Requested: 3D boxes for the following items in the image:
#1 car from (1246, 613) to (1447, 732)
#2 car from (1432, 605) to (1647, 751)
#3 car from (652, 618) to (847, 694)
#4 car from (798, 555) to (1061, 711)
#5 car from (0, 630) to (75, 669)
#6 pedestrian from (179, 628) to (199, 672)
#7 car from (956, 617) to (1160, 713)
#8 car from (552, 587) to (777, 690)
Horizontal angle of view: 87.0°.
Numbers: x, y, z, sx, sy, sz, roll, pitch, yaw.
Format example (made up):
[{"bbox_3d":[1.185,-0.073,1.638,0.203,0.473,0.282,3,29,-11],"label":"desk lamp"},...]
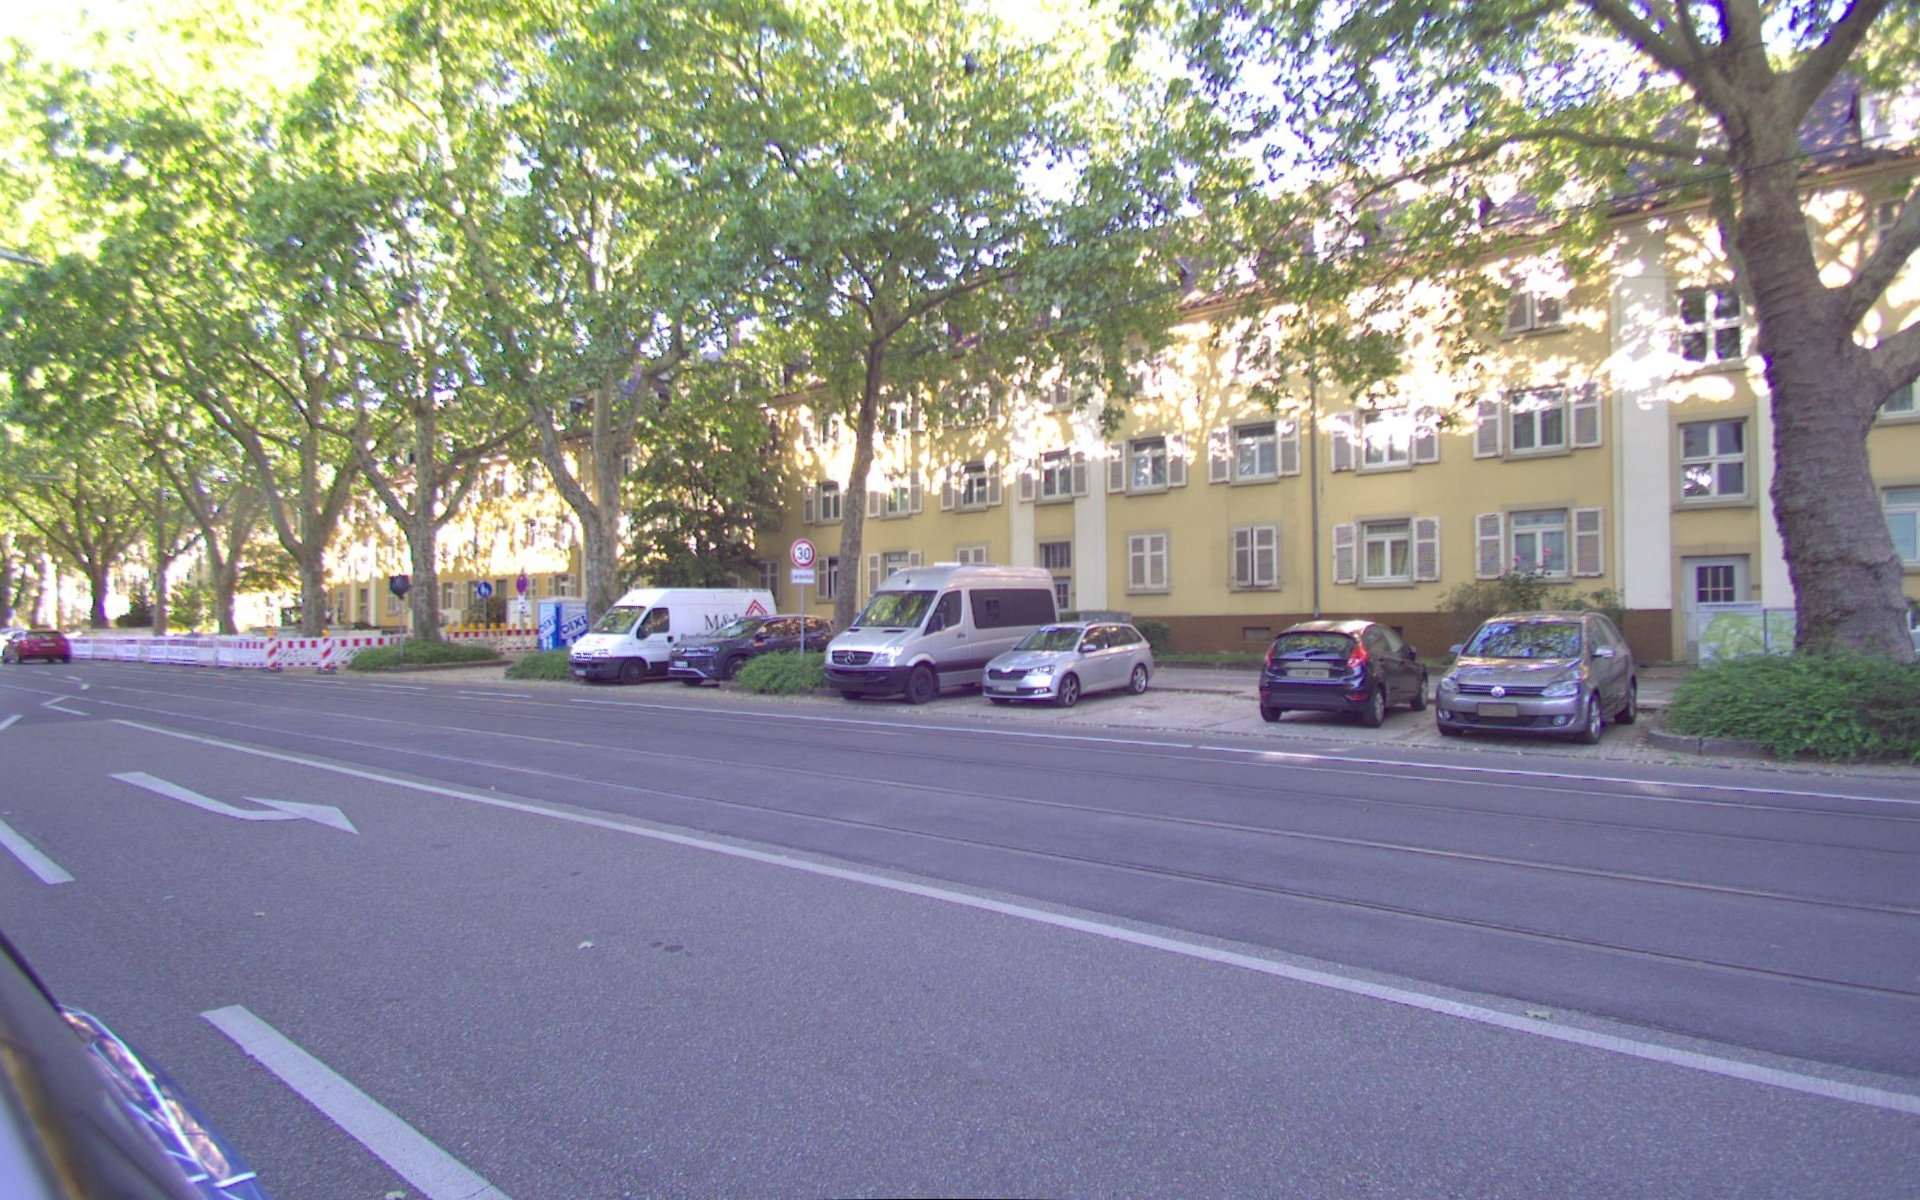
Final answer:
[{"bbox_3d":[5.974,1.003,15.415,1.671,1.509,3.756,-2,-1,41],"label":"car"},{"bbox_3d":[7.751,0.900,13.364,1.672,1.592,3.928,-2,-1,41],"label":"car"},{"bbox_3d":[-4.971,1.278,24.444,1.772,1.664,4.570,-2,-2,38],"label":"car"},{"bbox_3d":[-0.419,0.611,20.444,2.221,2.702,5.596,-2,-1,38],"label":"car"},{"bbox_3d":[-39.983,2.110,43.559,4.484,1.577,1.997,-2,-2,37],"label":"car"},{"bbox_3d":[-31.829,2.049,41.796,0.641,1.759,0.584,-1,0,-38],"label":"pedestrian"},{"bbox_3d":[1.919,1.123,18.832,1.773,1.509,4.031,-2,-1,41],"label":"car"},{"bbox_3d":[-7.554,0.967,26.371,2.222,2.394,5.336,-2,-2,40],"label":"car"}]
